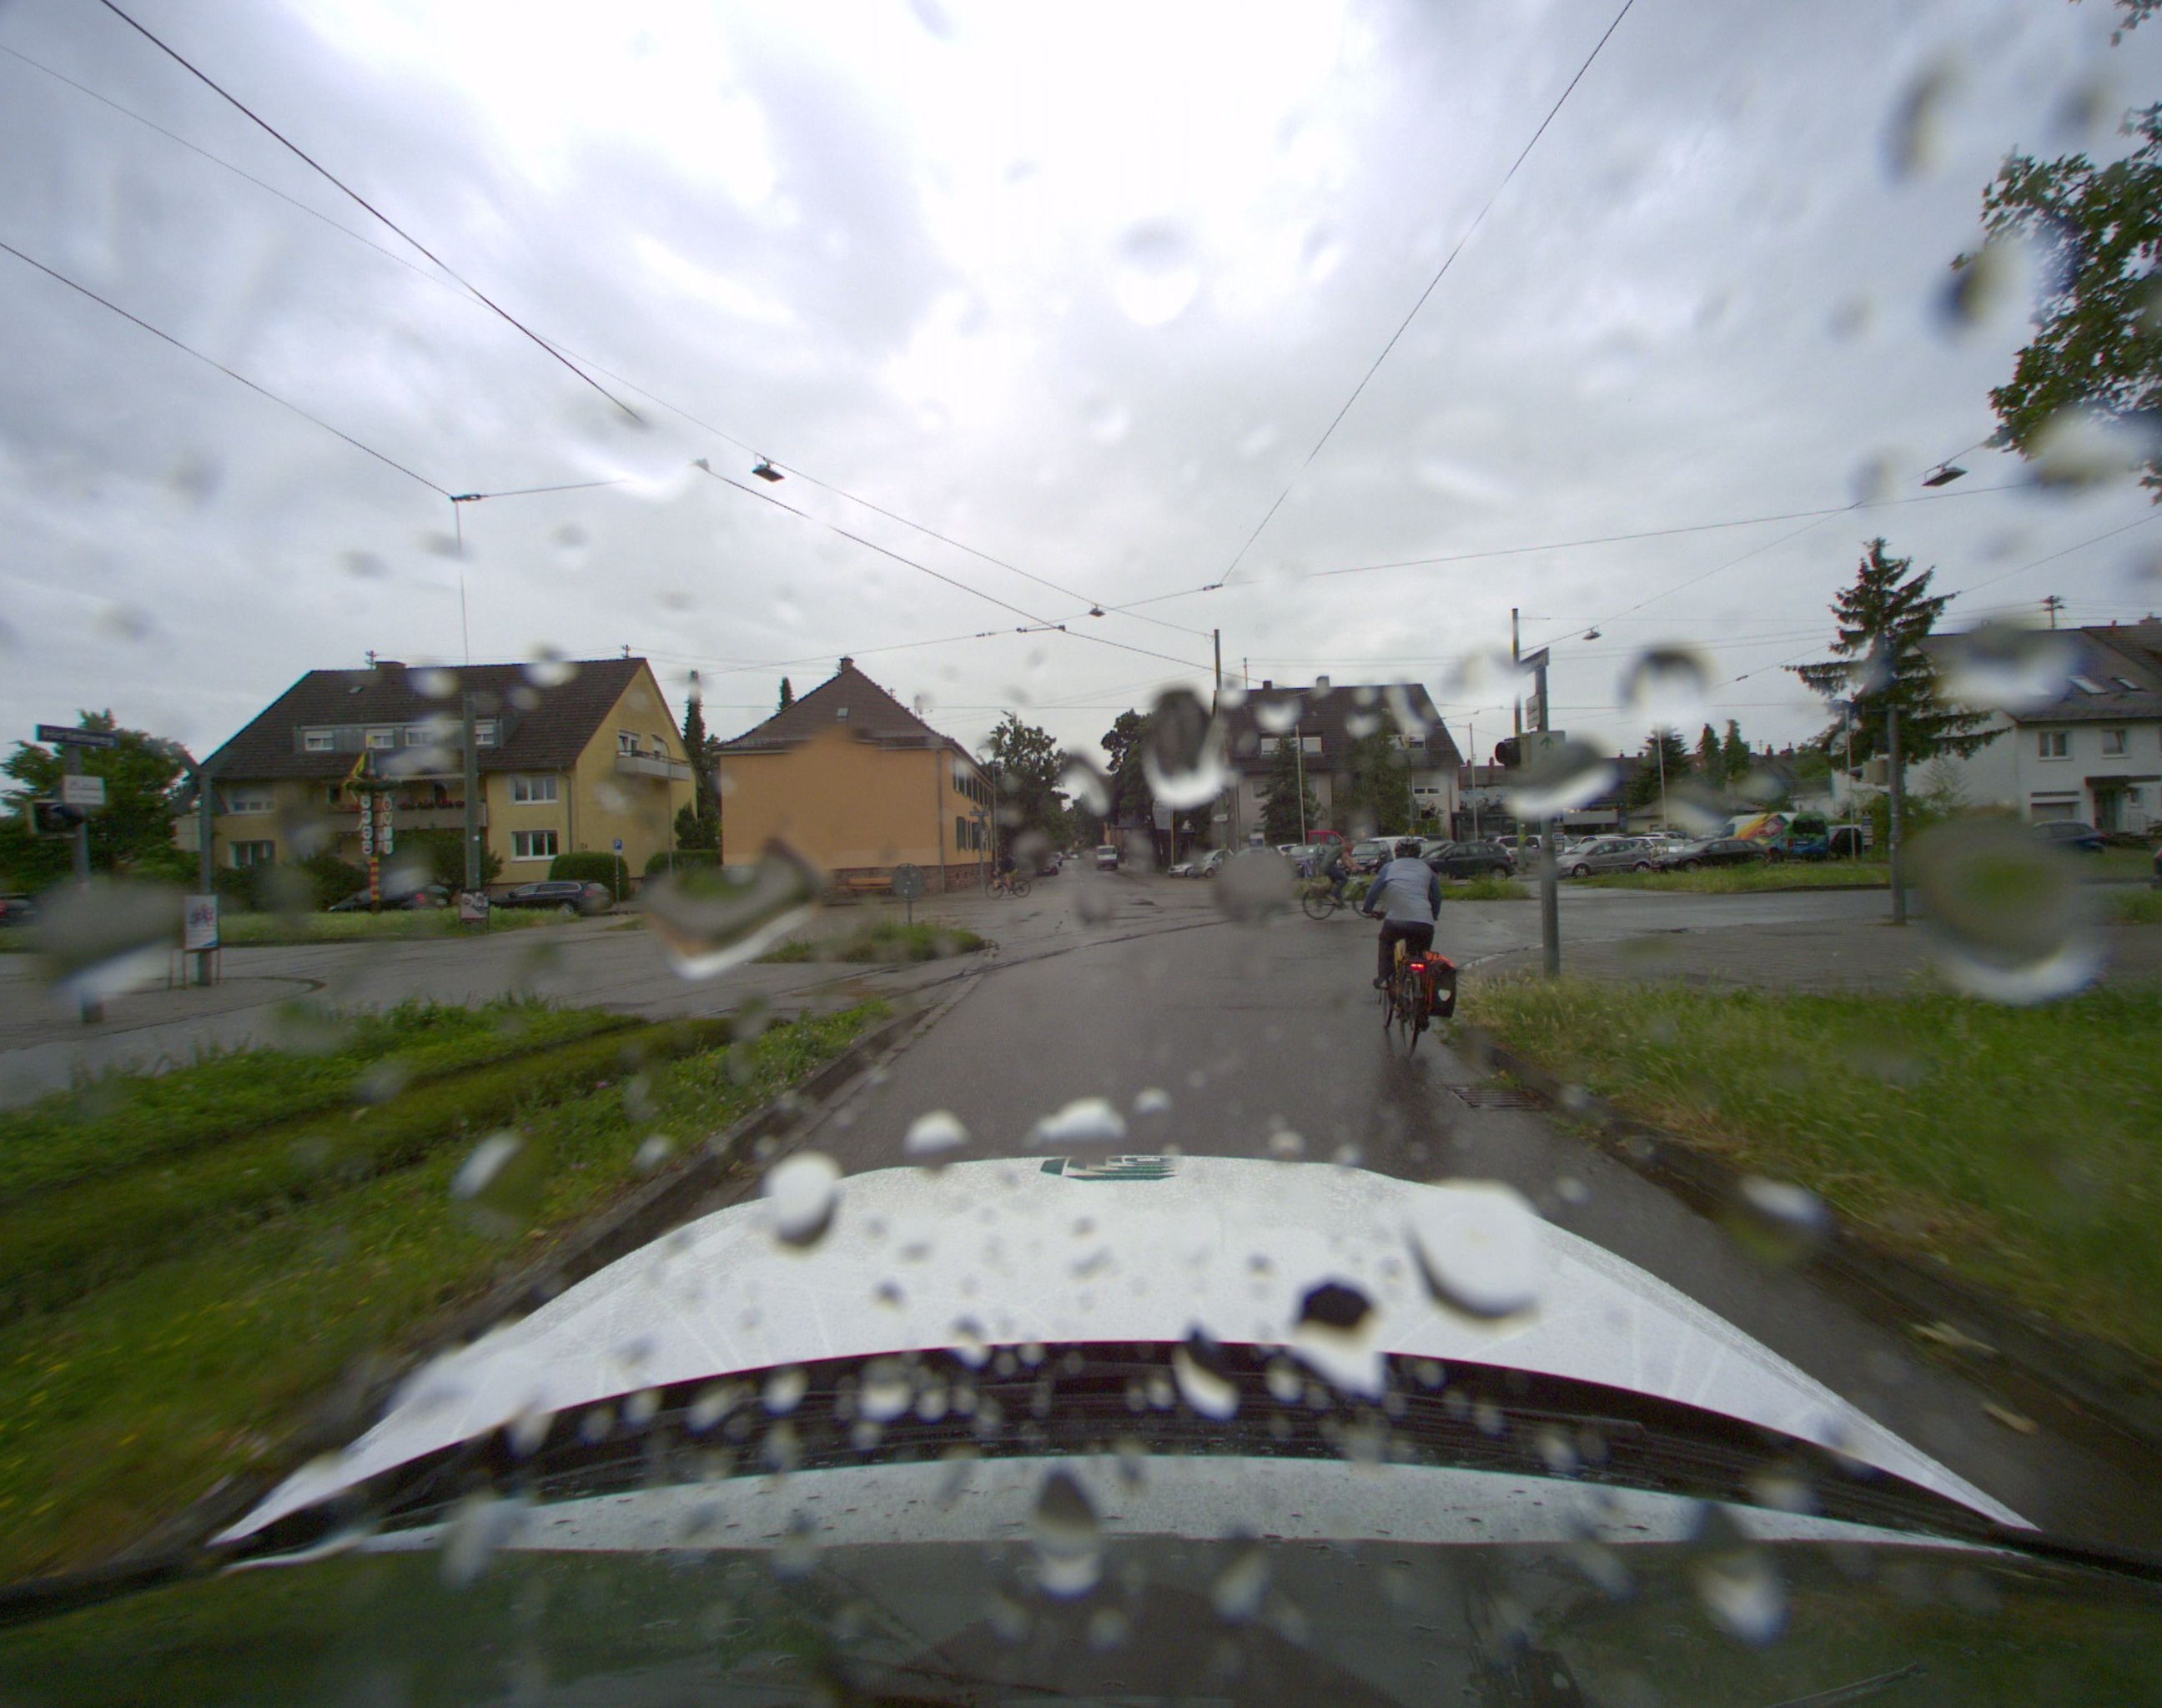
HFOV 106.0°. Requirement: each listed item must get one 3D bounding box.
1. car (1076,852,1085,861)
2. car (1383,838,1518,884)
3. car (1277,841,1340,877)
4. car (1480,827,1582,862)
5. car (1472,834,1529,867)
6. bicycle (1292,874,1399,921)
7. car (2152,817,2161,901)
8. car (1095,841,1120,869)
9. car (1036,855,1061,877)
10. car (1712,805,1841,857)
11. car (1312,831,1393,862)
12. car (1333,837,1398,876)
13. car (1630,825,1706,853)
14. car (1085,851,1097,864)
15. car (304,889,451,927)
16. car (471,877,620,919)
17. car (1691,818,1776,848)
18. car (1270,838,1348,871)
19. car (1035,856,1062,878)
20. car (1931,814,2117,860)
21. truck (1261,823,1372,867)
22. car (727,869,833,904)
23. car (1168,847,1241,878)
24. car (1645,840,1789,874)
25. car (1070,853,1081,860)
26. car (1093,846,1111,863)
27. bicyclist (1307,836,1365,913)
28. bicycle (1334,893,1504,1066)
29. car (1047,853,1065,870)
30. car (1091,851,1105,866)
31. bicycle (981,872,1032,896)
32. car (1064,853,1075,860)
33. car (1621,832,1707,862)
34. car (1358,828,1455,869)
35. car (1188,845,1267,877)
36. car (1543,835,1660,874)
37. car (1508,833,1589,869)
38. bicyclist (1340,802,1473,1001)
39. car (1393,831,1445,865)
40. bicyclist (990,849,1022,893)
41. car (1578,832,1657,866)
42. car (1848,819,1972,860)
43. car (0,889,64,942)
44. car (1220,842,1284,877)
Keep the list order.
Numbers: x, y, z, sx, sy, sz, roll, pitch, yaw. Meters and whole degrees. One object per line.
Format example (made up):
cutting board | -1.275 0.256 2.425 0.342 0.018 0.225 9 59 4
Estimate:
car | -0.097 0.605 179.561 1.823 2.013 3.998 0 0 -1
car | 13.388 0.237 29.694 3.975 1.476 1.999 -2 0 -1
car | 11.198 0.240 39.982 1.784 1.578 3.897 -3 0 34
car | 23.998 -0.480 43.567 4.414 1.687 1.762 -2 -1 3
car | 20.139 -0.138 39.249 1.813 1.504 4.077 0 0 18
bicycle | 5.540 0.896 17.153 1.974 0.912 0.823 -1 -1 -2
car | 20.785 0.023 13.057 1.809 1.476 4.138 -2 0 -29
car | 2.496 0.088 77.231 2.147 2.572 4.131 0 0 -1
car | -2.722 1.003 69.661 1.988 1.750 3.998 -2 -1 -1
car | 34.529 -1.084 40.661 2.137 2.406 5.150 0 0 1
car | 16.937 -0.451 51.038 4.414 1.687 2.002 -2 -1 3
car | 13.752 0.083 39.242 1.974 1.717 4.026 -3 0 34
car | 37.908 -0.976 52.601 4.449 1.580 1.781 -2 -1 -21
car | 1.600 0.593 132.298 1.823 2.013 3.998 0 0 -1
car | -26.798 2.044 31.130 3.977 1.332 1.758 0 0 -2
car | -20.911 1.710 31.958 4.478 1.396 1.966 -2 0 -1
car | 38.083 -1.210 47.555 4.401 1.580 1.852 -2 -1 -21
car | 12.655 0.031 45.134 3.932 1.598 2.010 -3 -1 21
car | -2.550 1.054 64.890 1.988 1.618 3.998 -2 -1 -1
car | 34.059 -0.600 29.509 4.545 1.605 1.999 0 0 -2
truck | 13.825 -0.474 47.782 6.031 2.272 2.010 -3 -1 20
car | -11.948 1.271 32.511 3.595 1.339 1.722 0 0 -2
car | 7.302 0.497 48.178 3.871 1.578 1.796 -3 0 -19
car | 25.289 0.112 32.480 4.355 1.339 1.724 0 0 3
car | -1.321 0.608 197.886 1.832 1.697 4.010 0 0 -15
car | 2.456 0.082 95.358 1.986 2.013 4.001 0 0 1
bicyclist | 5.359 0.421 17.148 0.908 1.558 0.833 -1 -1 -2
bicycle | 2.647 0.925 6.626 0.748 1.073 1.931 -3 0 7
car | -3.058 0.849 99.037 1.986 2.013 4.001 0 0 1
car | 2.383 0.590 114.856 1.823 2.013 3.998 0 0 -1
bicycle | -2.846 1.151 31.226 1.808 0.786 0.942 -3 0 -1
car | -2.979 0.610 203.334 1.832 1.697 4.010 0 0 -15
car | 28.206 -0.310 39.547 1.709 1.396 3.847 0 0 4
car | 17.501 -0.271 43.983 4.414 2.014 2.002 -2 -1 3
car | 8.110 0.374 45.119 3.871 1.578 1.796 -3 0 -19
car | 20.810 0.020 32.677 3.618 1.504 1.724 0 0 2
car | 22.784 -0.154 39.858 1.794 1.578 3.875 -3 0 3
bicyclist | 2.612 0.365 6.632 0.747 1.485 0.848 -3 0 7
car | 16.017 -0.274 38.512 1.810 1.504 4.083 0 0 29
bicyclist | -2.865 0.643 31.226 1.036 1.598 0.949 -3 0 -1
car | 26.075 -0.234 39.687 1.709 1.573 3.622 0 0 5
car | 40.043 -0.678 39.391 3.869 1.565 2.000 -5 0 0
car | -40.562 2.225 29.753 3.982 1.794 1.996 0 0 -6
car | 8.733 0.272 41.344 1.784 1.578 3.897 -3 0 34
